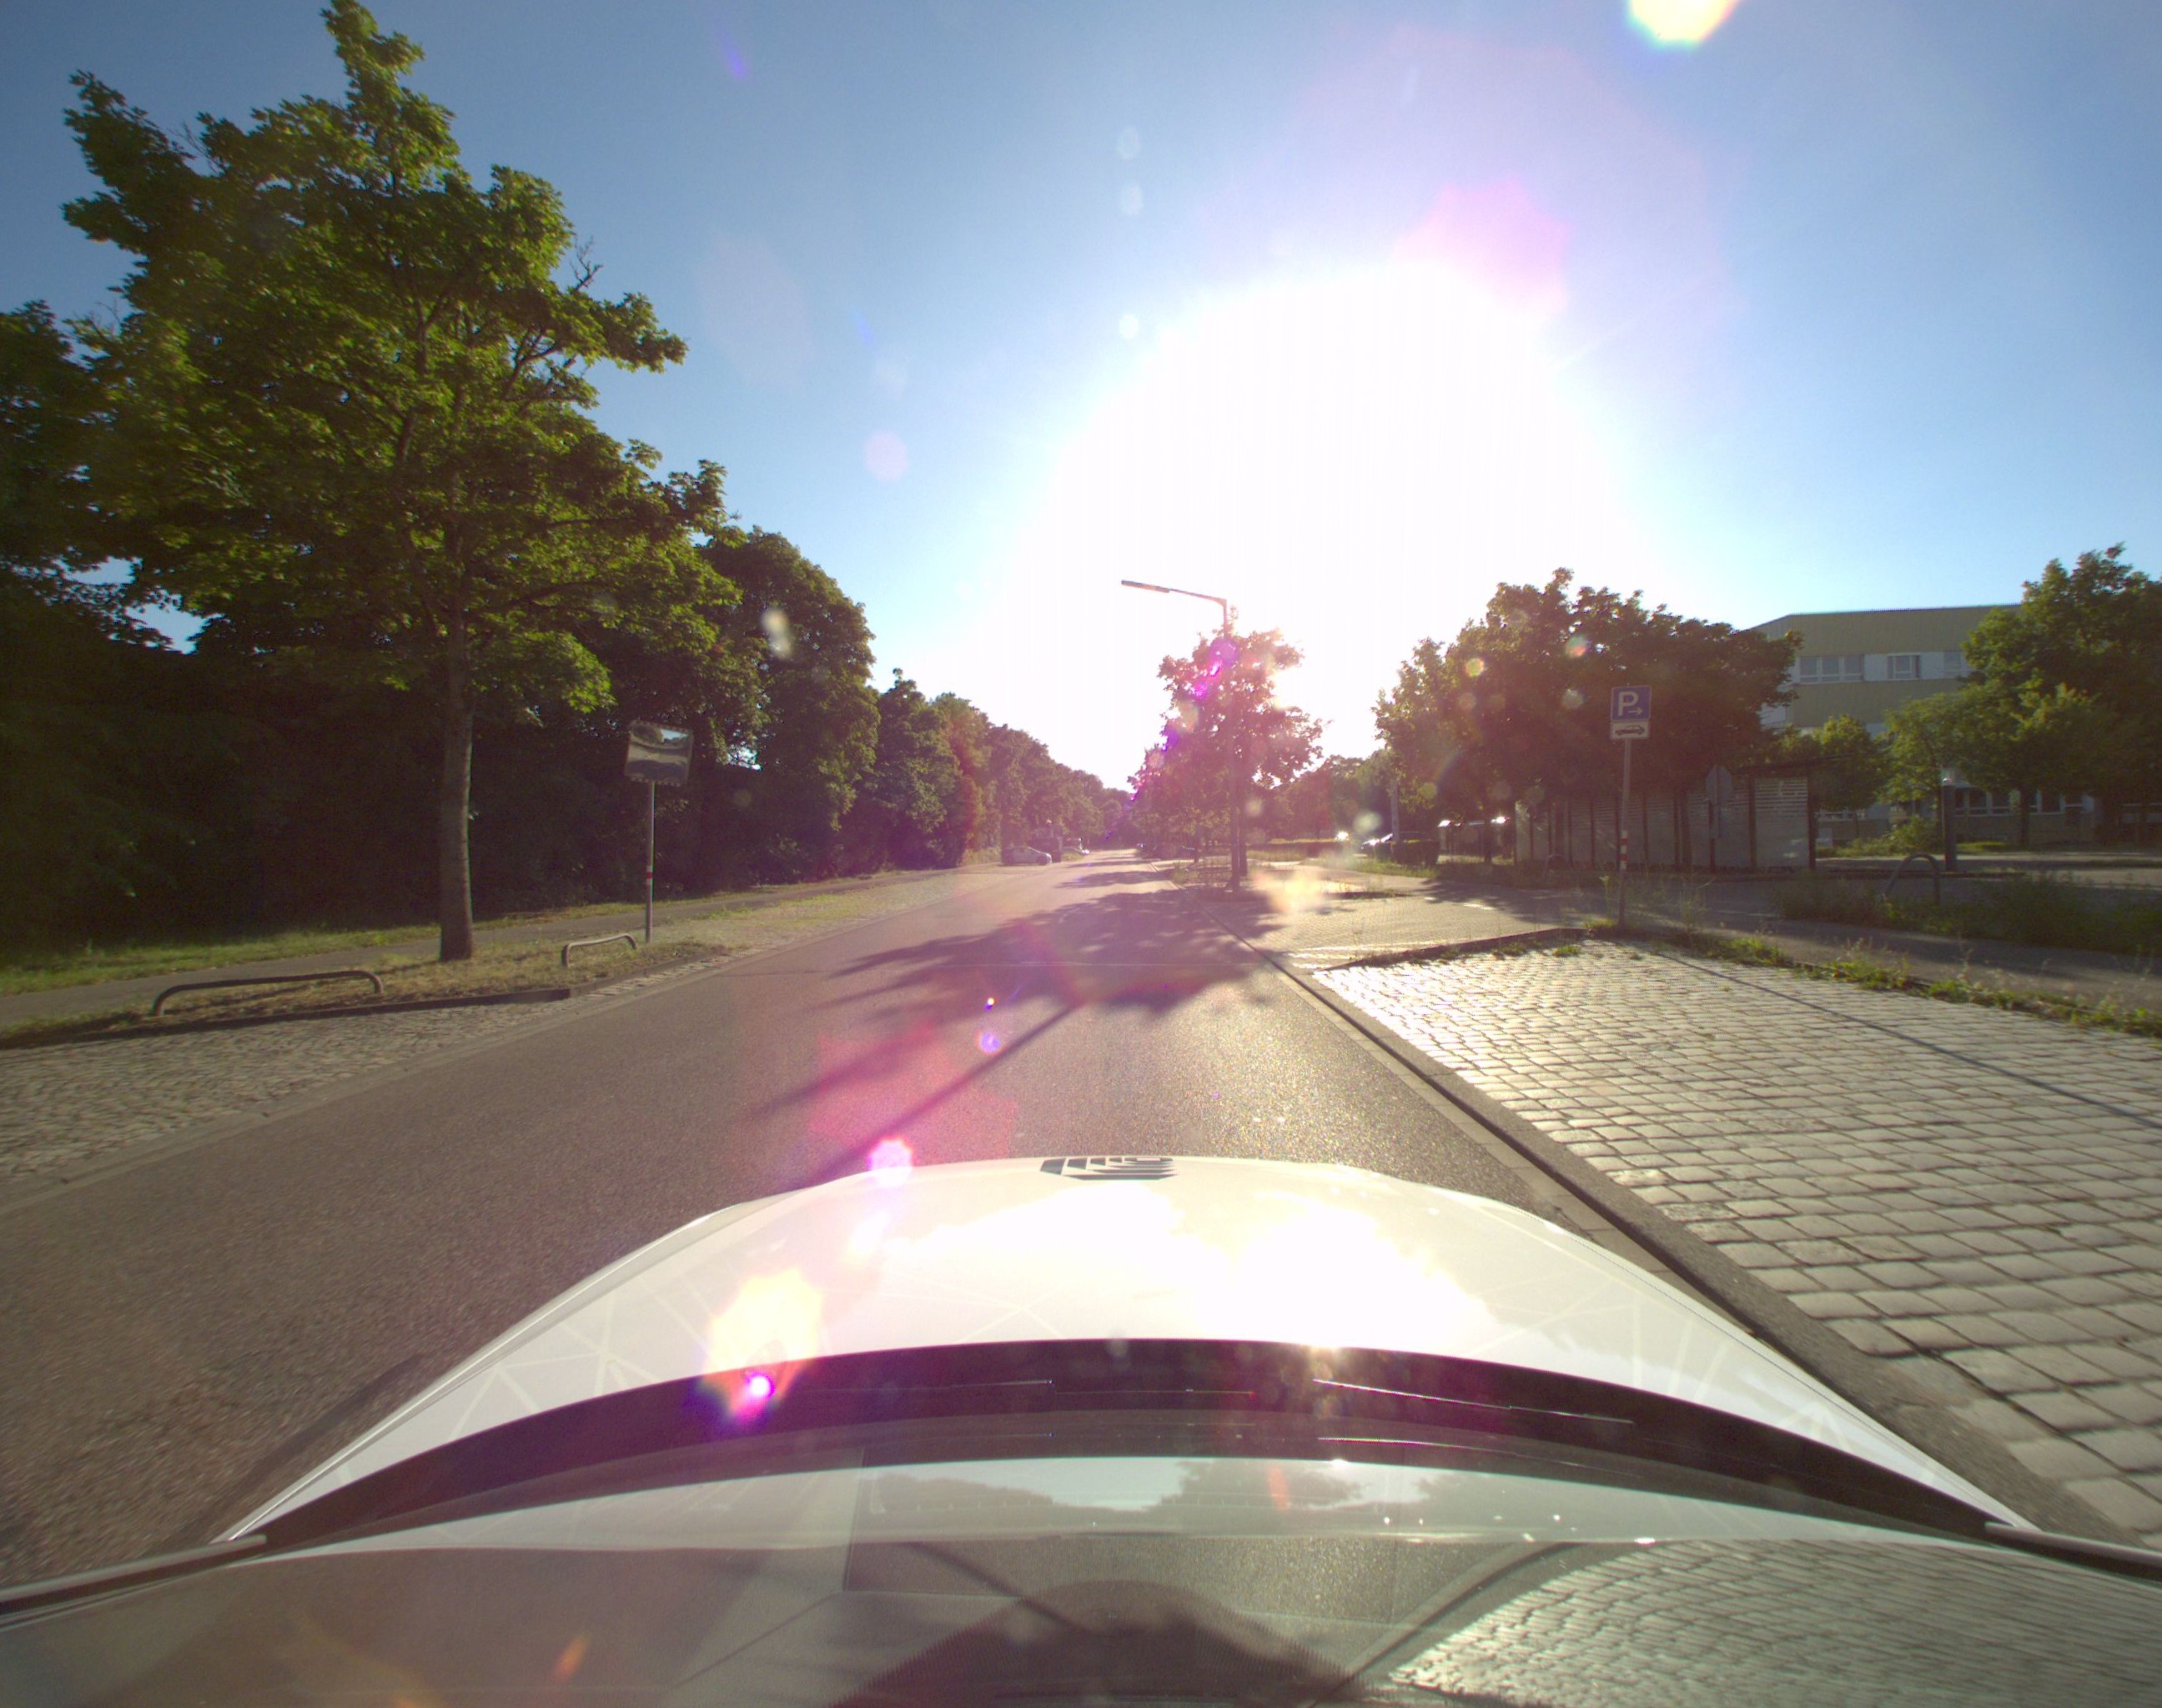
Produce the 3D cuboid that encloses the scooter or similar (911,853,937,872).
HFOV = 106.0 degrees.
[{"bbox_3d":[-10.233,0.543,53.136,0.570,1.145,1.594,-2,0,43],"label":"scooter or similar"}]

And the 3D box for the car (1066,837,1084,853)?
[{"bbox_3d":[-0.979,-1.450,129.954,2.512,2.386,4.367,-2,0,-4],"label":"car"}]

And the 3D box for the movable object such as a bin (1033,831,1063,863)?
[{"bbox_3d":[-3.207,-0.685,80.399,2.830,3.068,4.924,0,1,-1],"label":"movable object such as a bin"}]

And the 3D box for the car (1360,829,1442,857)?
[{"bbox_3d":[20.153,-0.708,51.455,4.413,1.705,2.060,0,0,1],"label":"car"}]

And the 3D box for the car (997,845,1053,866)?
[{"bbox_3d":[-4.597,0.131,67.744,4.339,1.547,2.002,-2,1,3],"label":"car"}]

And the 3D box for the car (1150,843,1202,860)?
[{"bbox_3d":[8.894,-0.260,76.567,4.820,1.479,2.002,-2,1,3],"label":"car"}]

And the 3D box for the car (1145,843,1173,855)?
[{"bbox_3d":[12.692,-0.810,132.141,4.341,1.729,2.001,-2,1,2],"label":"car"}]

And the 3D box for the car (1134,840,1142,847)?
[{"bbox_3d":[15.487,-2.759,220.902,1.986,1.903,4.001,-2,1,1],"label":"car"}]

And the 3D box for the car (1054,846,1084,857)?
[{"bbox_3d":[-1.783,-0.391,120.626,4.350,1.479,1.997,-2,1,-4],"label":"car"}]
